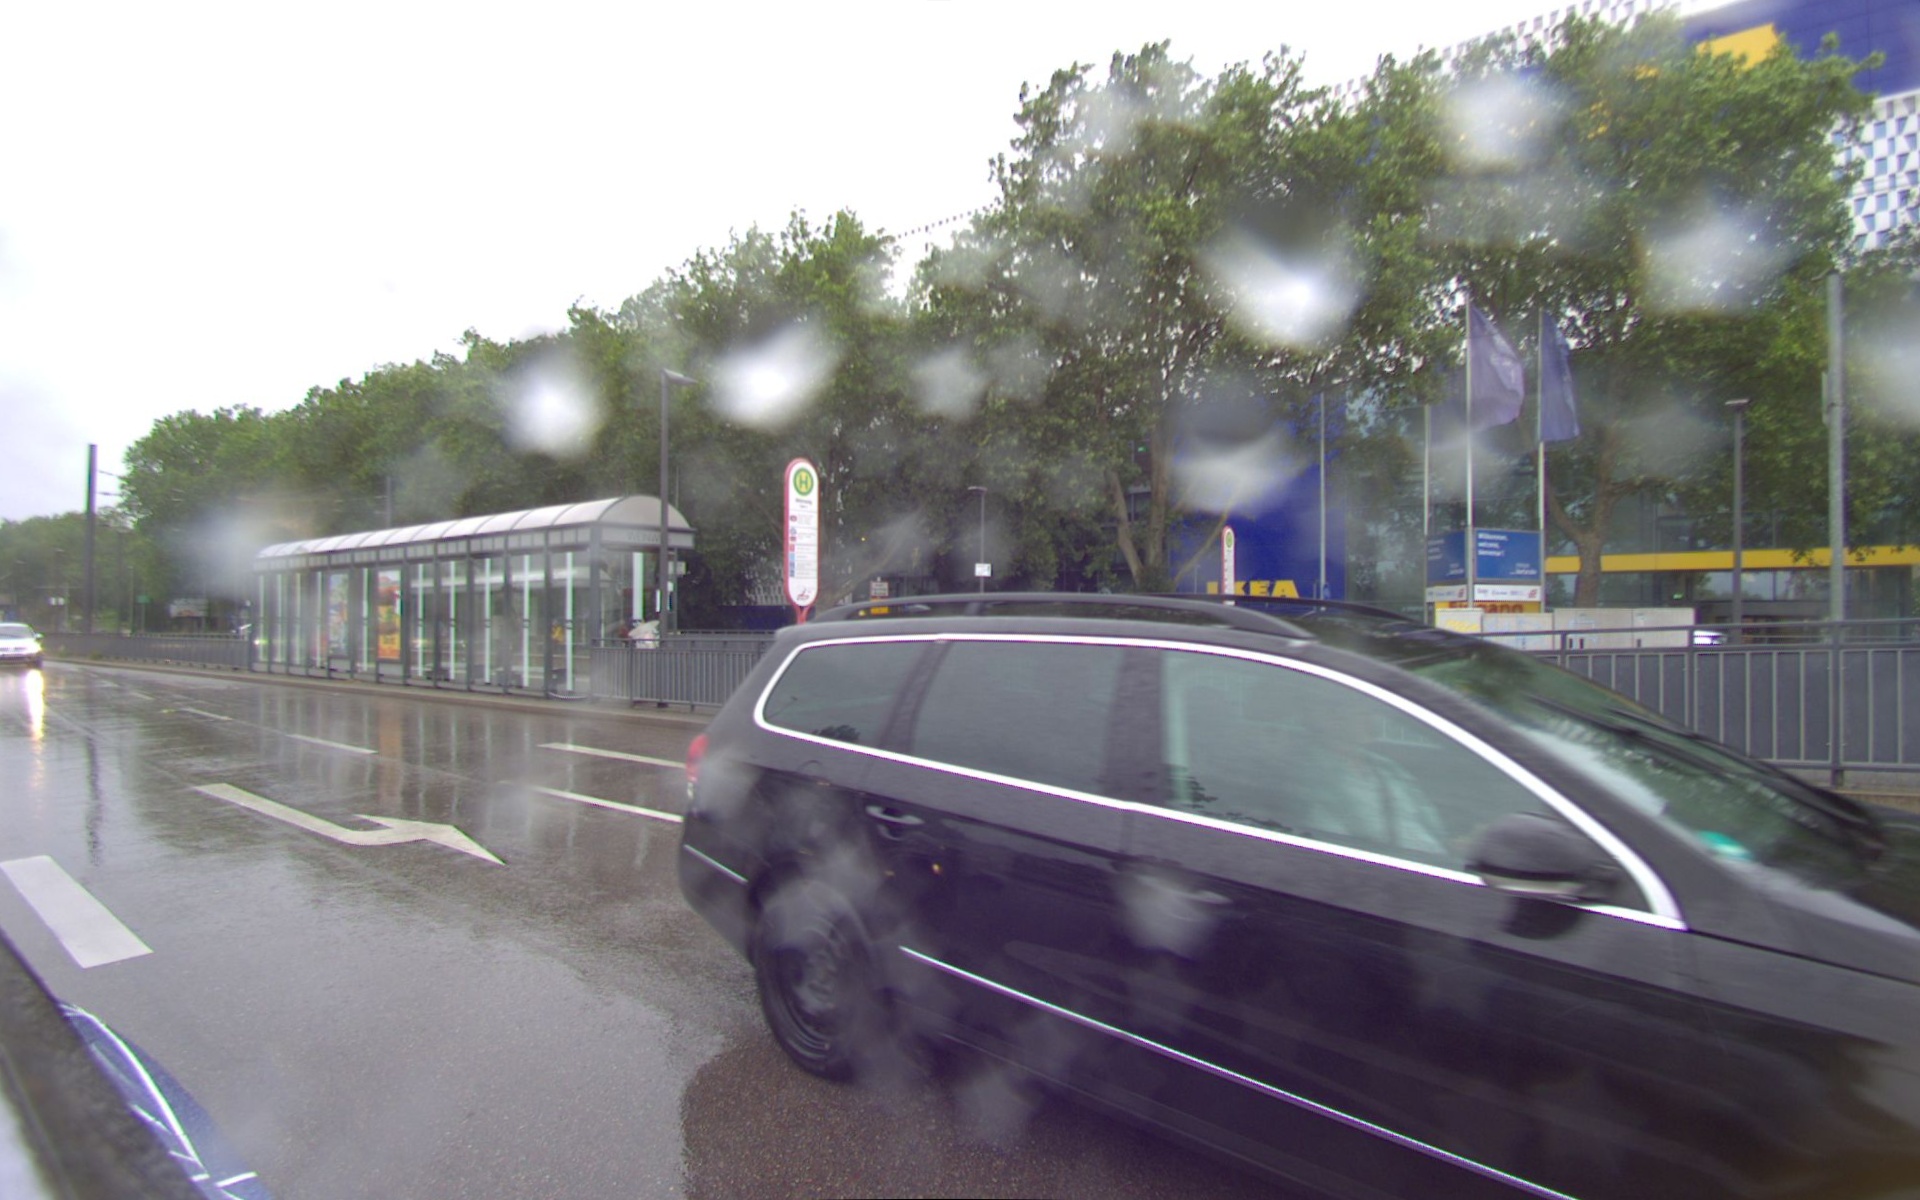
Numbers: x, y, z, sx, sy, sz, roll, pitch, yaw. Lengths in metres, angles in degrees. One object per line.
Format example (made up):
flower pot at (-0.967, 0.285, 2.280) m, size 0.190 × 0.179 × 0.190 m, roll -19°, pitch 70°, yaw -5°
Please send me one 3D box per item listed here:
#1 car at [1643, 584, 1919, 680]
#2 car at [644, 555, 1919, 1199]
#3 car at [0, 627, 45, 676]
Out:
car at (14.394, 0.512, 17.704) m, size 3.875 × 1.503 × 1.680 m, roll -1°, pitch 0°, yaw 42°
car at (1.146, 0.695, 2.718) m, size 4.596 × 1.512 × 1.752 m, roll -1°, pitch 0°, yaw 43°
car at (-34.022, 1.797, 35.926) m, size 3.997 × 1.618 × 1.771 m, roll -1°, pitch 0°, yaw 40°
